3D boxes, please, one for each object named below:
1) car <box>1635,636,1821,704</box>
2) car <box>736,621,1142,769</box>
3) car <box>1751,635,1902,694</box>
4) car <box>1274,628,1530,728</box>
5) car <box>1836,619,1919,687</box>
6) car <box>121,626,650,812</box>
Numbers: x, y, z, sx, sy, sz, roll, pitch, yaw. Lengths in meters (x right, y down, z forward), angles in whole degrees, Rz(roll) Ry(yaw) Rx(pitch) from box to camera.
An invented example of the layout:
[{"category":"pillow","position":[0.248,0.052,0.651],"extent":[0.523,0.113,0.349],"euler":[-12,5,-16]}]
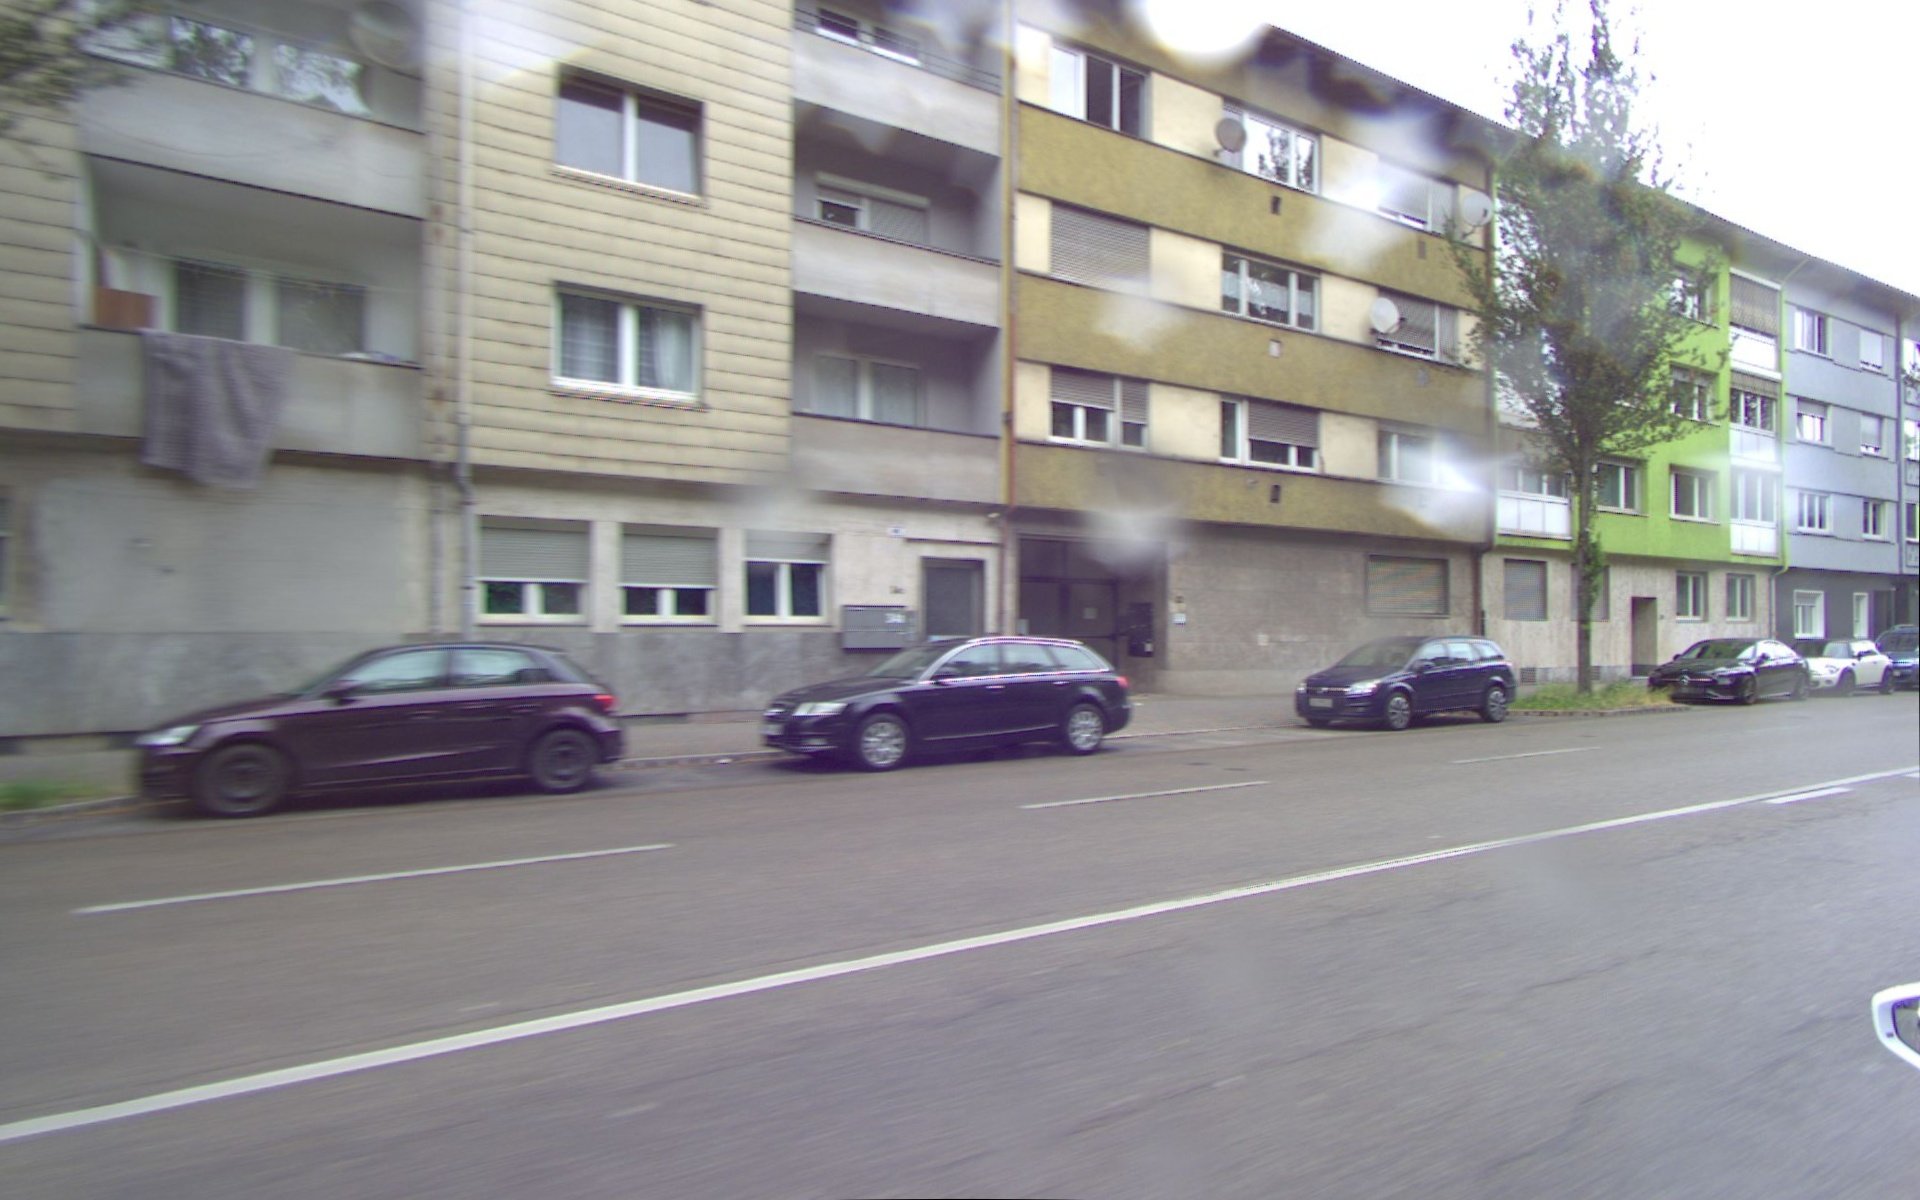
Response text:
[{"category":"car","position":[17.440,1.542,22.752],"extent":[4.628,1.390,1.808],"euler":[1,-3,-32]},{"category":"car","position":[-0.161,1.063,12.321],"extent":[4.736,1.508,1.808],"euler":[1,-3,-32]},{"category":"car","position":[22.136,1.625,25.646],"extent":[3.952,1.394,1.673],"euler":[2,-4,-30]},{"category":"car","position":[7.586,1.269,17.133],"extent":[4.462,1.508,1.710],"euler":[1,-3,-31]},{"category":"car","position":[26.953,1.501,28.334],"extent":[4.543,1.789,1.883],"euler":[2,-3,-28]},{"category":"car","position":[-5.085,0.973,9.364],"extent":[3.942,1.405,1.618],"euler":[1,-2,-31]}]
